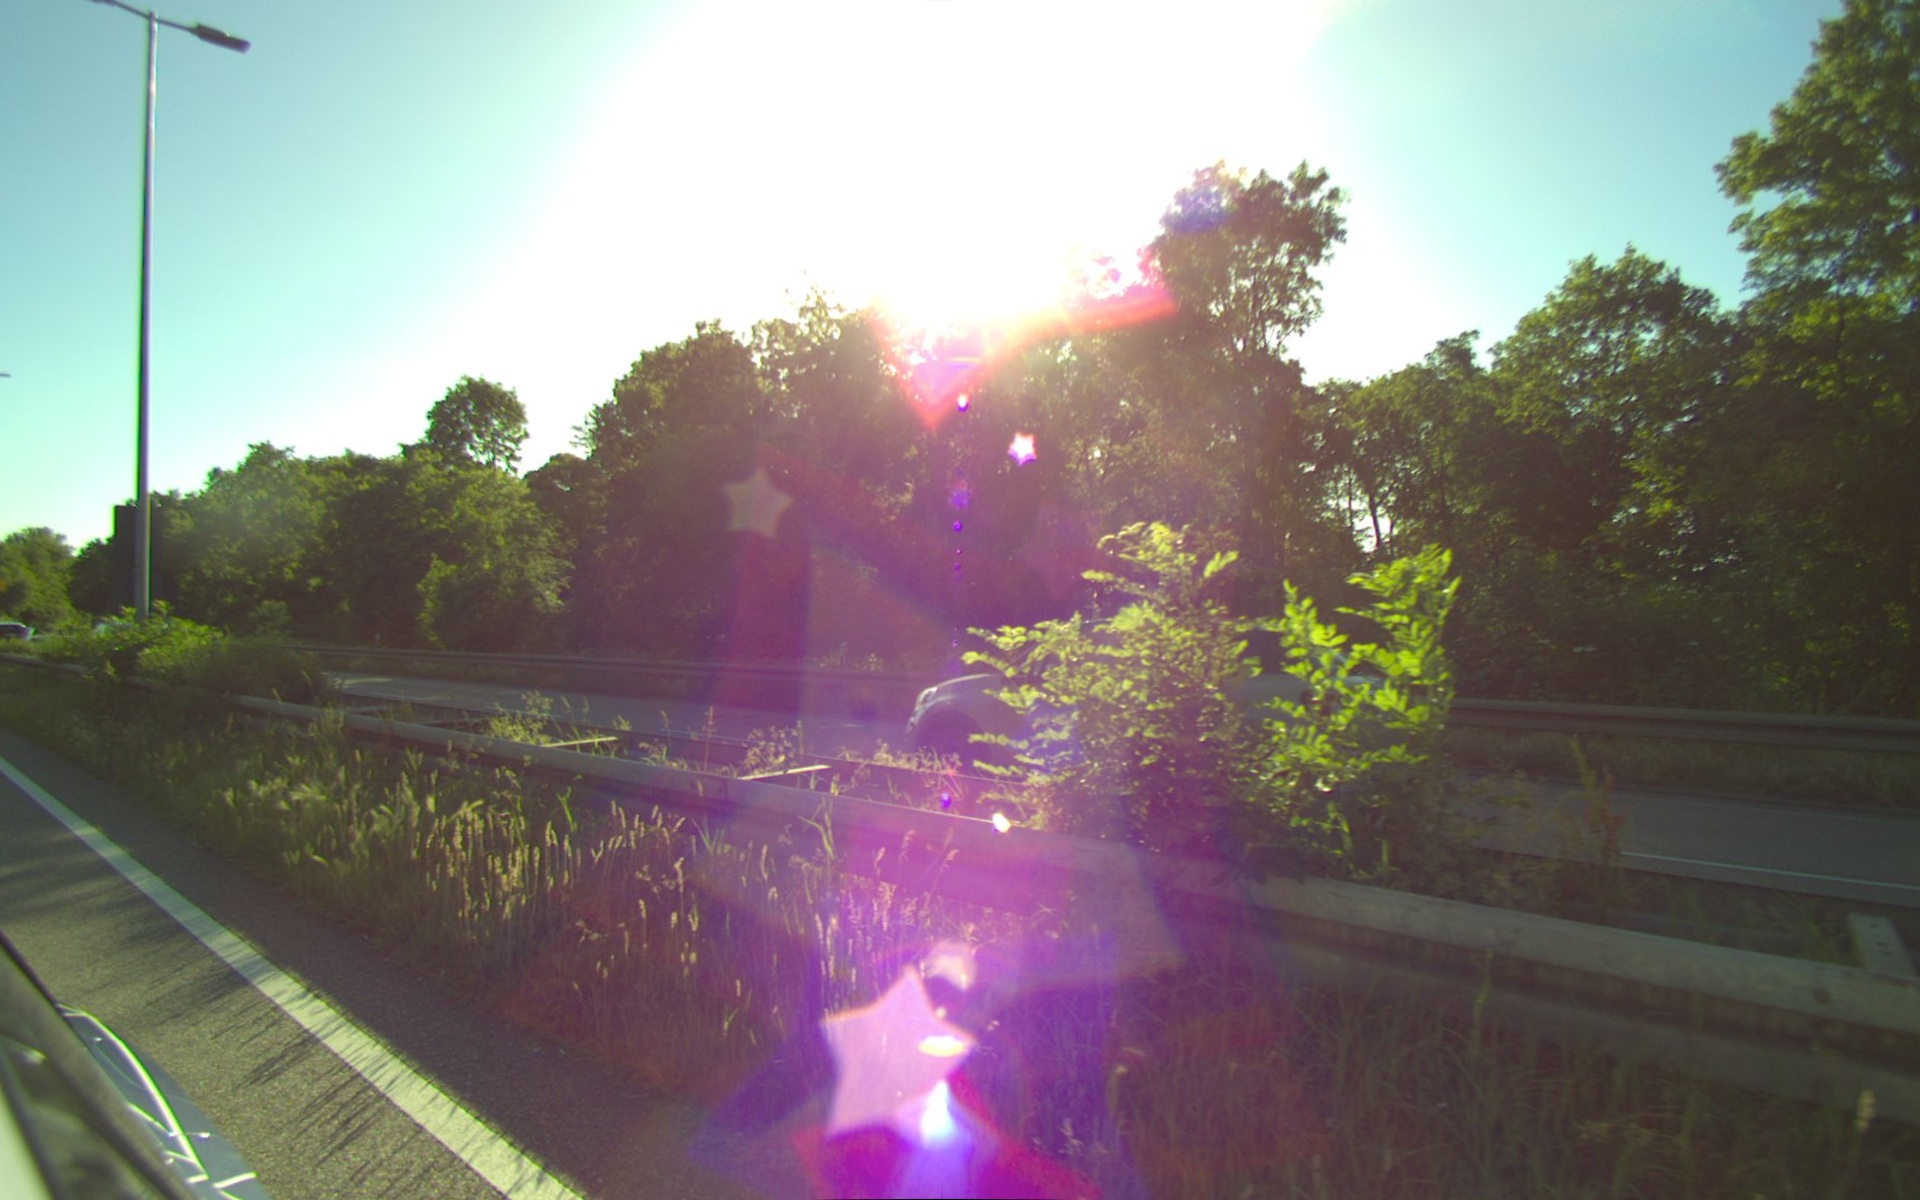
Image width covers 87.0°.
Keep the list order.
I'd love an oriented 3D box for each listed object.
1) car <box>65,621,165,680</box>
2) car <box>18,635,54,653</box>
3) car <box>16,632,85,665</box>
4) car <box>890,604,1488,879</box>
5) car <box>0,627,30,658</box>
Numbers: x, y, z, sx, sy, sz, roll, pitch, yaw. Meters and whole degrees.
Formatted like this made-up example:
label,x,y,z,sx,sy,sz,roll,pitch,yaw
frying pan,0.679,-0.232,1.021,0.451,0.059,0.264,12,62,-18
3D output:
label,x,y,z,sx,sy,sz,roll,pitch,yaw
car,-27.367,1.587,32.738,4.336,1.785,1.815,-2,-2,41
car,-80.912,3.850,88.606,3.710,1.461,1.734,-2,-4,39
car,-40.688,2.140,45.228,4.460,1.367,1.754,-2,-2,41
car,1.576,0.889,7.882,4.215,1.582,1.751,-2,-3,40
car,-54.462,2.413,57.563,4.544,1.723,1.766,-2,-4,41
